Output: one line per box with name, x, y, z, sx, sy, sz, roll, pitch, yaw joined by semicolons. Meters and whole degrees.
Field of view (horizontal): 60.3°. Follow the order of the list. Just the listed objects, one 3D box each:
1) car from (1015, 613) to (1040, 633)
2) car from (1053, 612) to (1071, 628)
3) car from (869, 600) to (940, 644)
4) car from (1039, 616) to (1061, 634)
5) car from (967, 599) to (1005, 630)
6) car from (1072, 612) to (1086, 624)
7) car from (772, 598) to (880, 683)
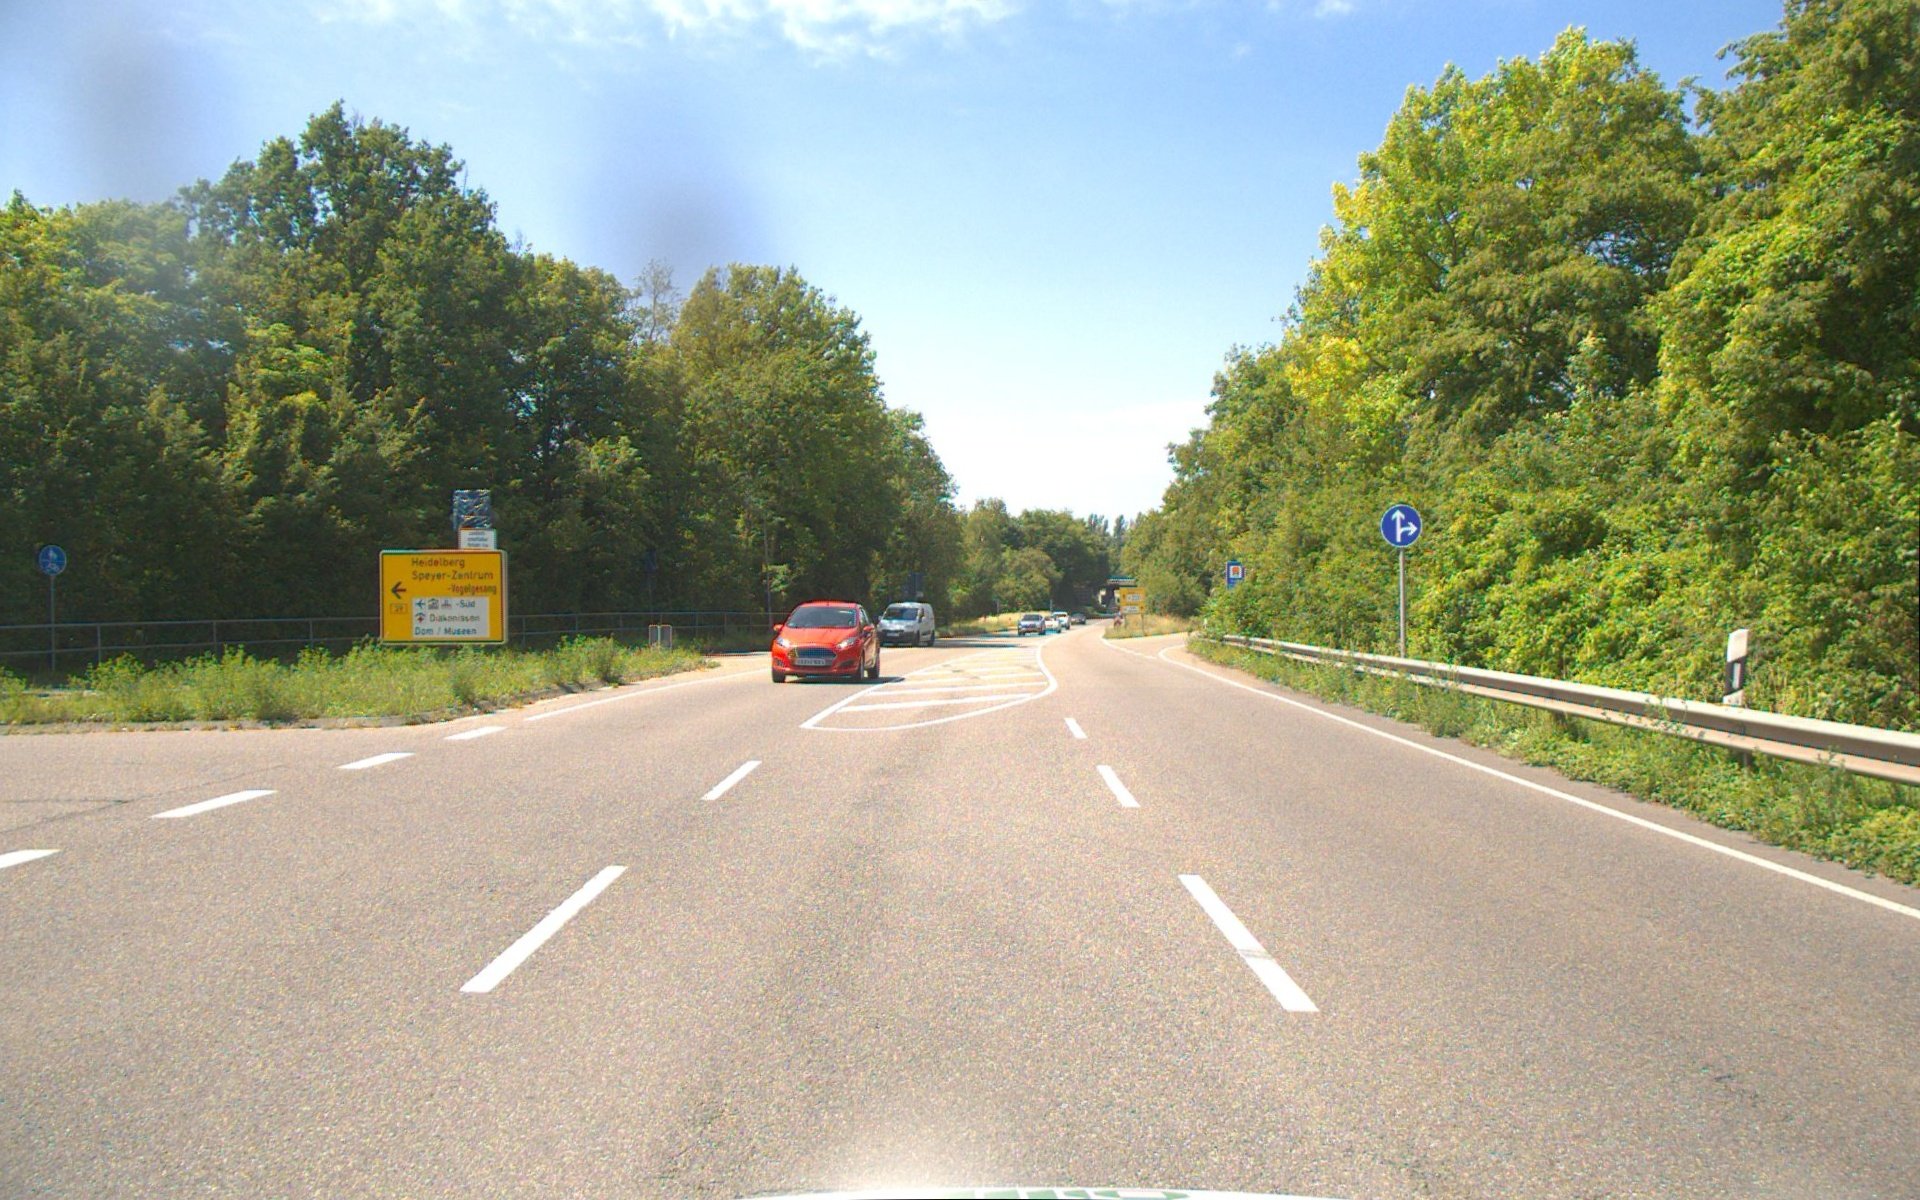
car;5.318;1.793;129.757;1.641;1.554;4.003;0;0;7
car;10.434;2.029;168.686;1.683;1.555;3.712;0;0;6
car;-2.280;0.903;68.941;1.951;1.760;4.278;-1;0;13
car;7.901;2.171;145.000;1.641;1.554;4.003;0;0;7
car;2.794;1.544;178.119;1.971;3.282;4.763;0;0;-29
car;14.855;2.225;206.271;1.683;1.535;3.712;0;0;6
car;-2.458;0.725;31.208;1.773;1.483;3.757;0;0;-1
